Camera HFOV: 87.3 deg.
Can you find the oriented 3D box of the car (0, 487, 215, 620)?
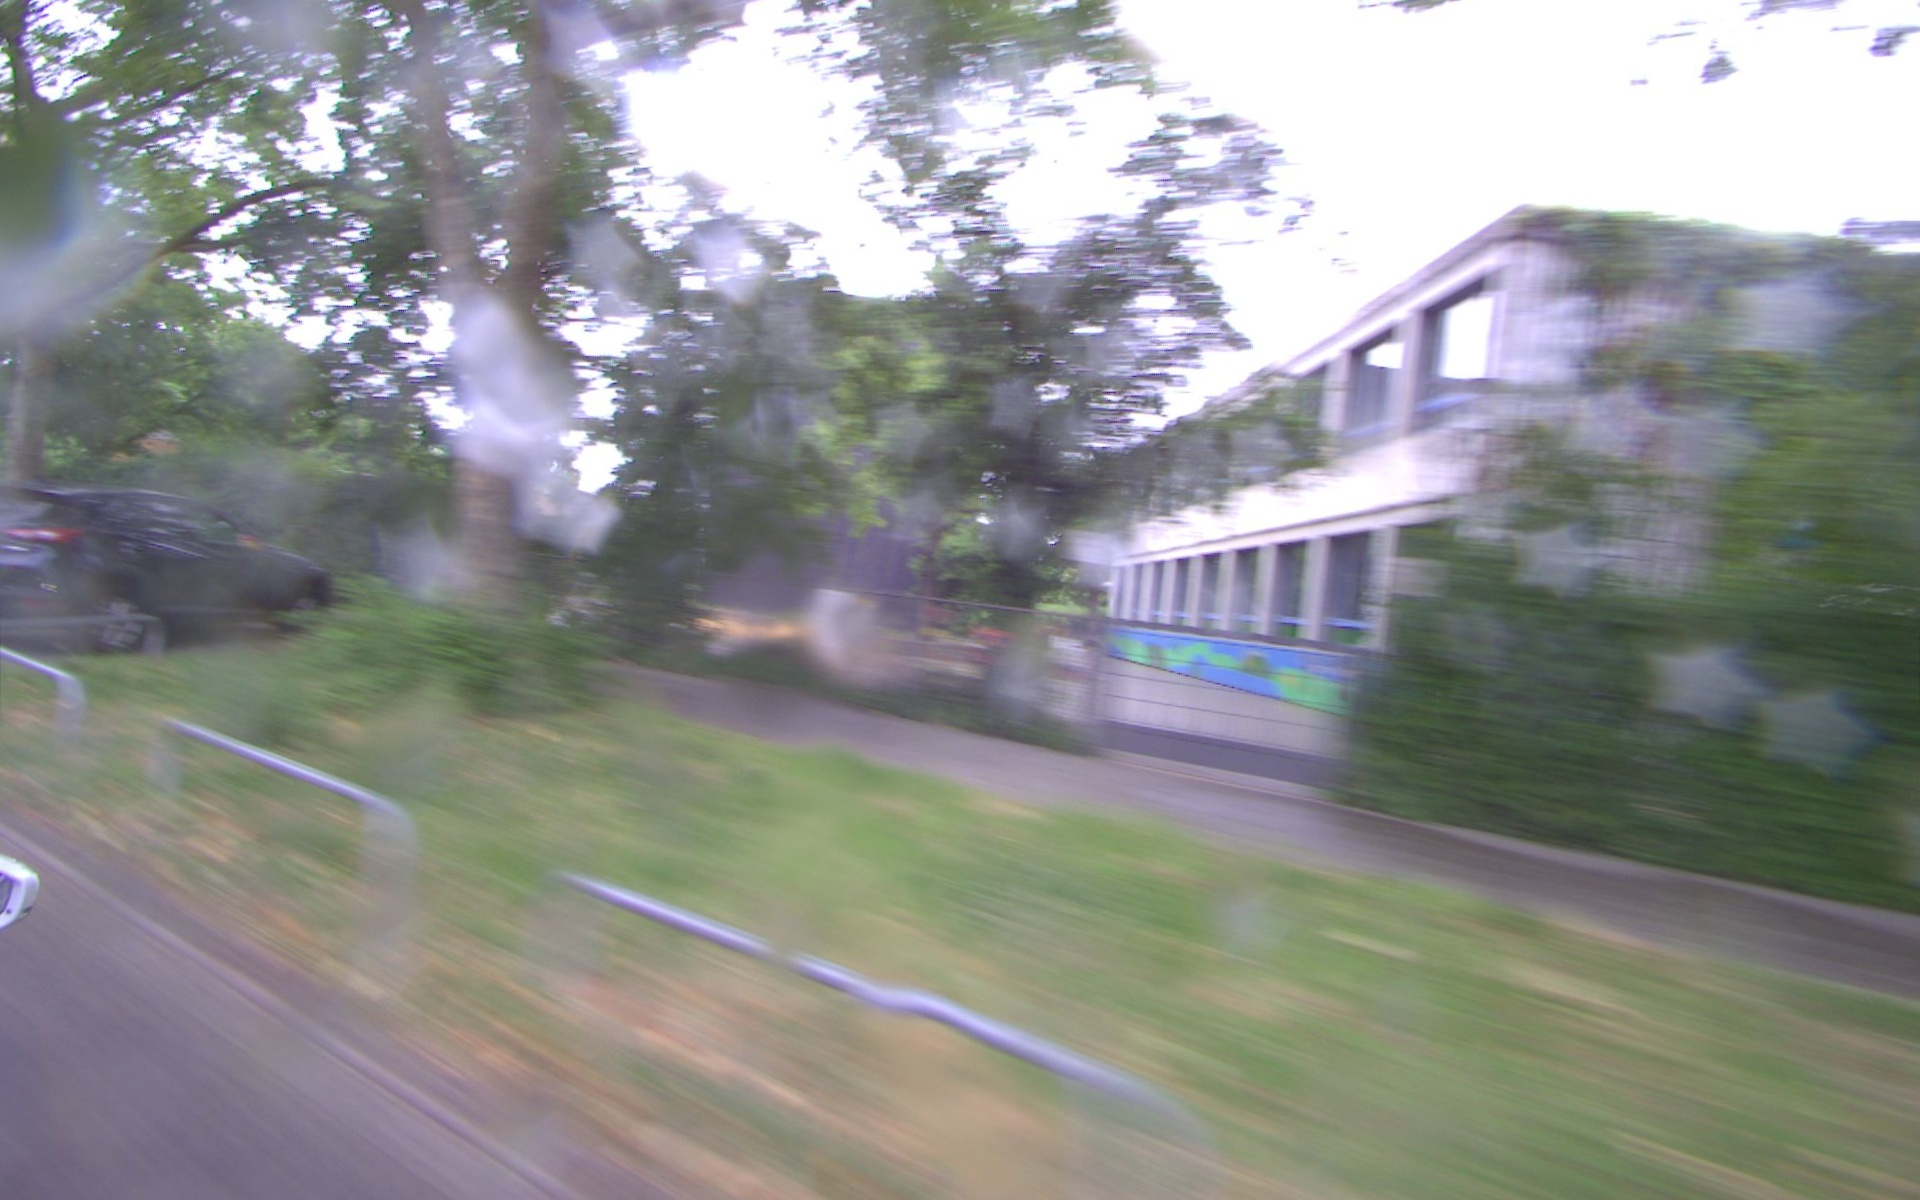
[{"bbox_3d":[-11.270,-0.611,12.108,1.710,1.437,4.058,5,1,-4],"label":"car"}]

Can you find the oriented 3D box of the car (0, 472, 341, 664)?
[{"bbox_3d":[-8.500,-0.372,10.252,1.848,1.553,3.802,6,1,1],"label":"car"}]
